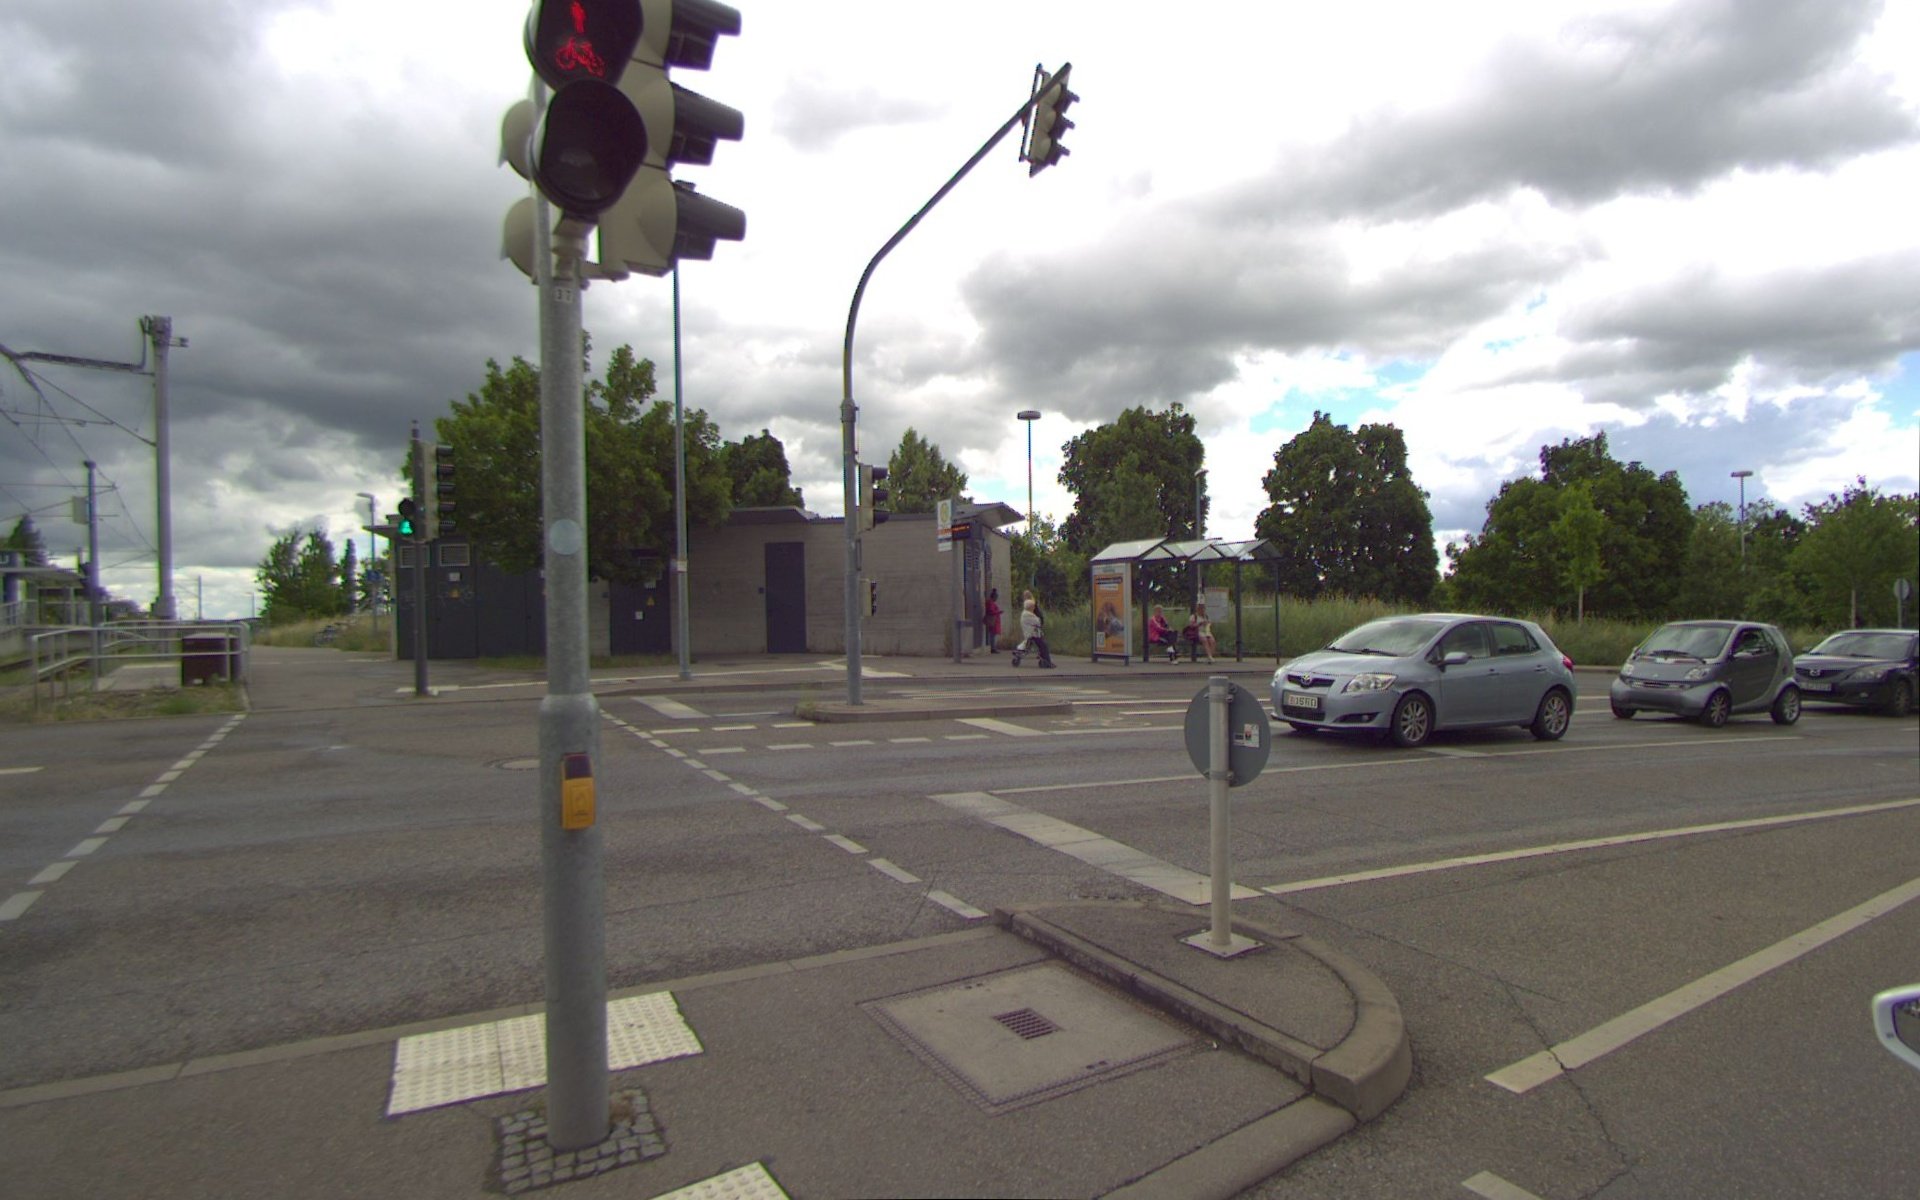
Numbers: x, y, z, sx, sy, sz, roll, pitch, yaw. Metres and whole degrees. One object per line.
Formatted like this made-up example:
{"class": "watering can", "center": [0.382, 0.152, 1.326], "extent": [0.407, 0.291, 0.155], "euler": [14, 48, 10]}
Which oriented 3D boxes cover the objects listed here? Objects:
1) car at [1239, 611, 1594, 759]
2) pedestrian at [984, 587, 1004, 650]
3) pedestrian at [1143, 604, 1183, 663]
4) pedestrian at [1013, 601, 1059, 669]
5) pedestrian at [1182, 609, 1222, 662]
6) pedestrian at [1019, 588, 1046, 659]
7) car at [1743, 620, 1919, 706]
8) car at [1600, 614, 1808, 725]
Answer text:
{"class": "car", "center": [5.711, 0.940, 12.515], "extent": [4.164, 1.556, 1.821], "euler": [0, -1, -27]}
{"class": "pedestrian", "center": [0.912, 0.494, 26.949], "extent": [0.420, 1.692, 0.551], "euler": [-1, 0, 14]}
{"class": "pedestrian", "center": [4.739, 0.776, 23.478], "extent": [0.544, 1.348, 0.768], "euler": [-1, 0, -30]}
{"class": "pedestrian", "center": [1.595, 0.721, 21.033], "extent": [0.765, 1.381, 0.546], "euler": [-1, 0, -30]}
{"class": "pedestrian", "center": [5.786, 0.836, 24.045], "extent": [0.544, 1.243, 0.768], "euler": [-1, 0, -30]}
{"class": "pedestrian", "center": [1.761, 0.568, 24.492], "extent": [0.625, 1.692, 0.551], "euler": [-1, 0, 5]}
{"class": "car", "center": [16.240, 1.054, 17.904], "extent": [4.319, 1.350, 1.795], "euler": [0, -1, -24]}
{"class": "car", "center": [11.442, 1.013, 15.454], "extent": [2.737, 1.547, 1.424], "euler": [0, -1, -25]}
